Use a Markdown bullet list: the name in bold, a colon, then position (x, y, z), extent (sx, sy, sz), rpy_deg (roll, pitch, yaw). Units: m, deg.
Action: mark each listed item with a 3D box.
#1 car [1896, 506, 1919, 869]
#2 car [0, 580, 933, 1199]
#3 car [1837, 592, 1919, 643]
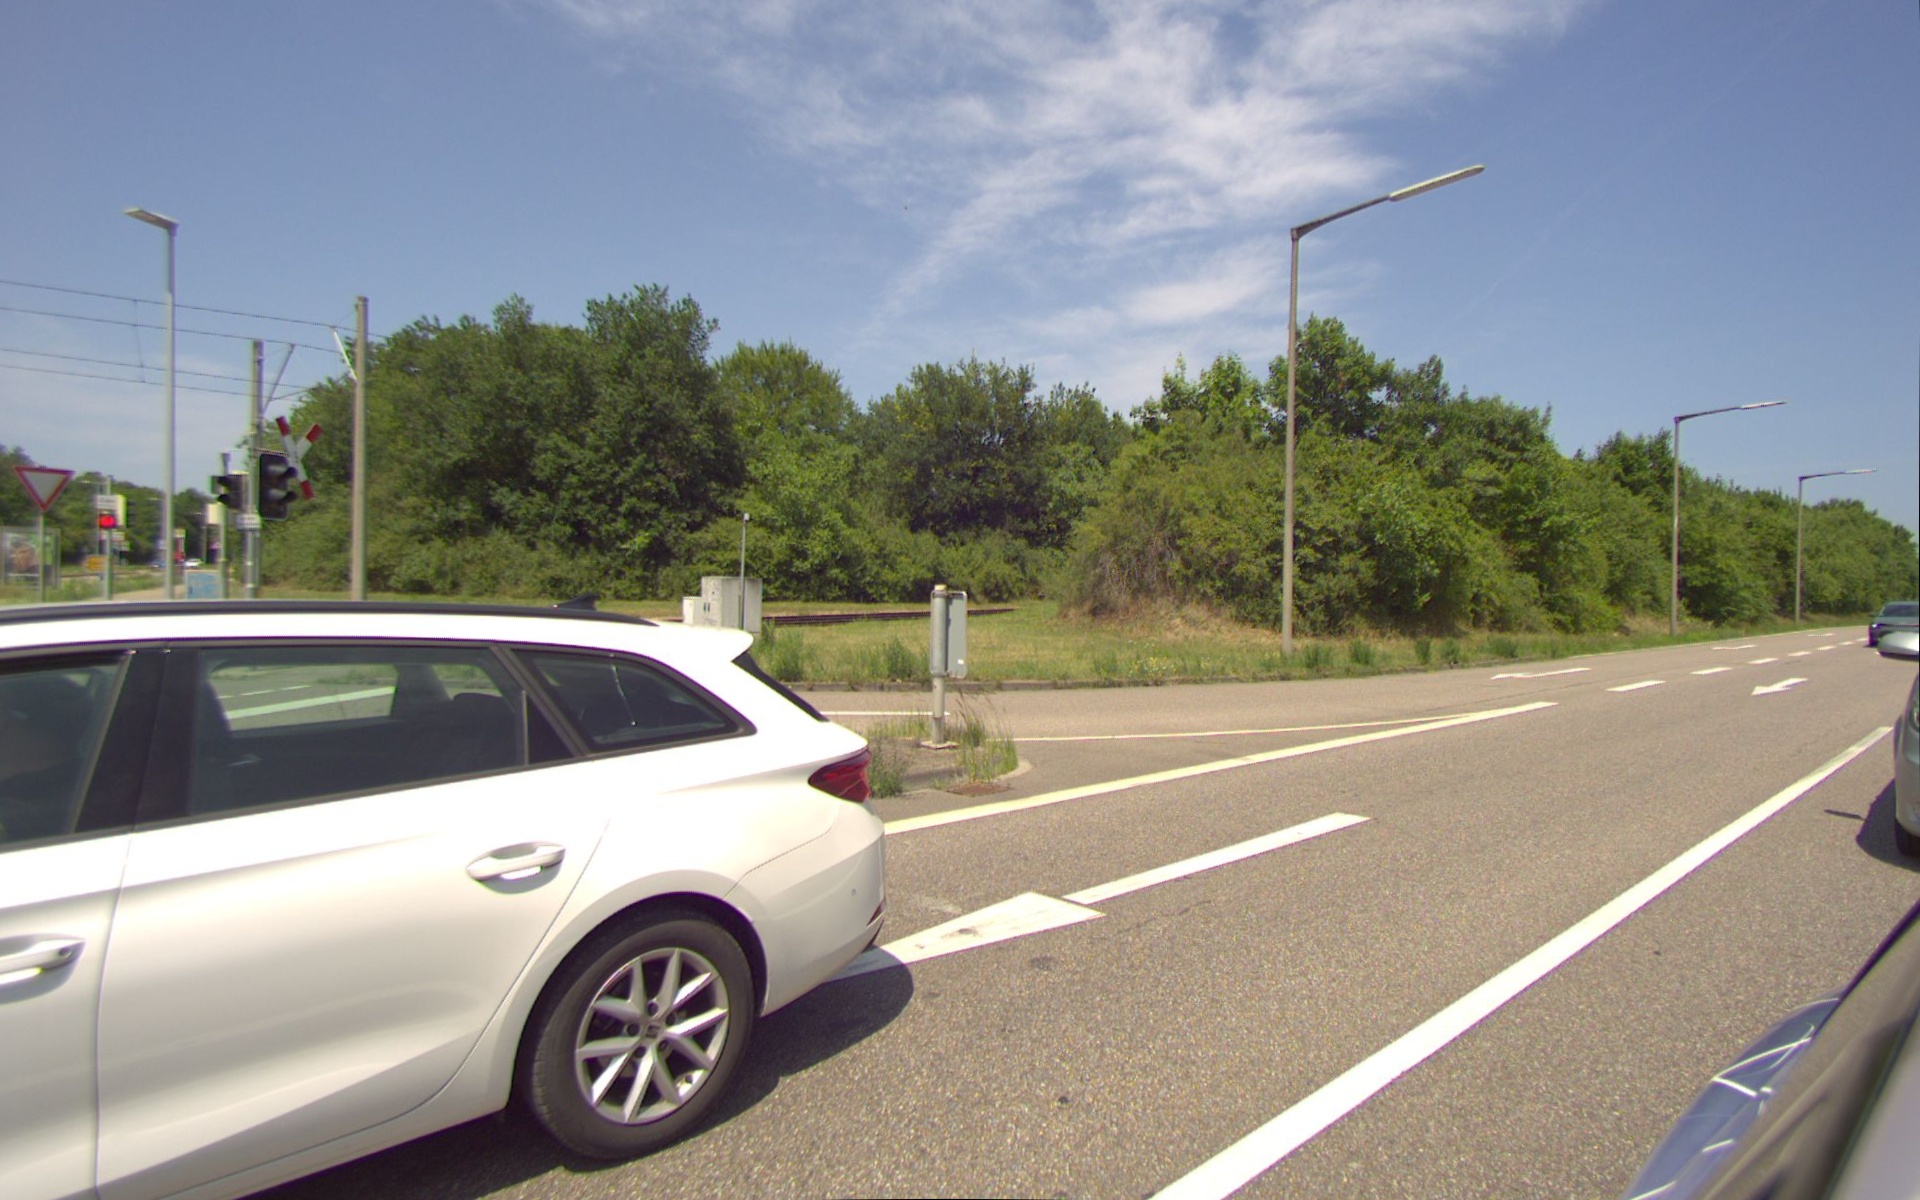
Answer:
- **car**: position (7.710, 0.478, 6.471), extent (5.631, 1.900, 1.875), rpy_deg (0, 1, -41)
- **car**: position (-2.259, 0.662, 2.390), extent (4.375, 1.407, 1.684), rpy_deg (0, 1, -43)
- **car**: position (32.055, 0.584, 35.147), extent (3.928, 1.616, 1.723), rpy_deg (0, 1, -39)
